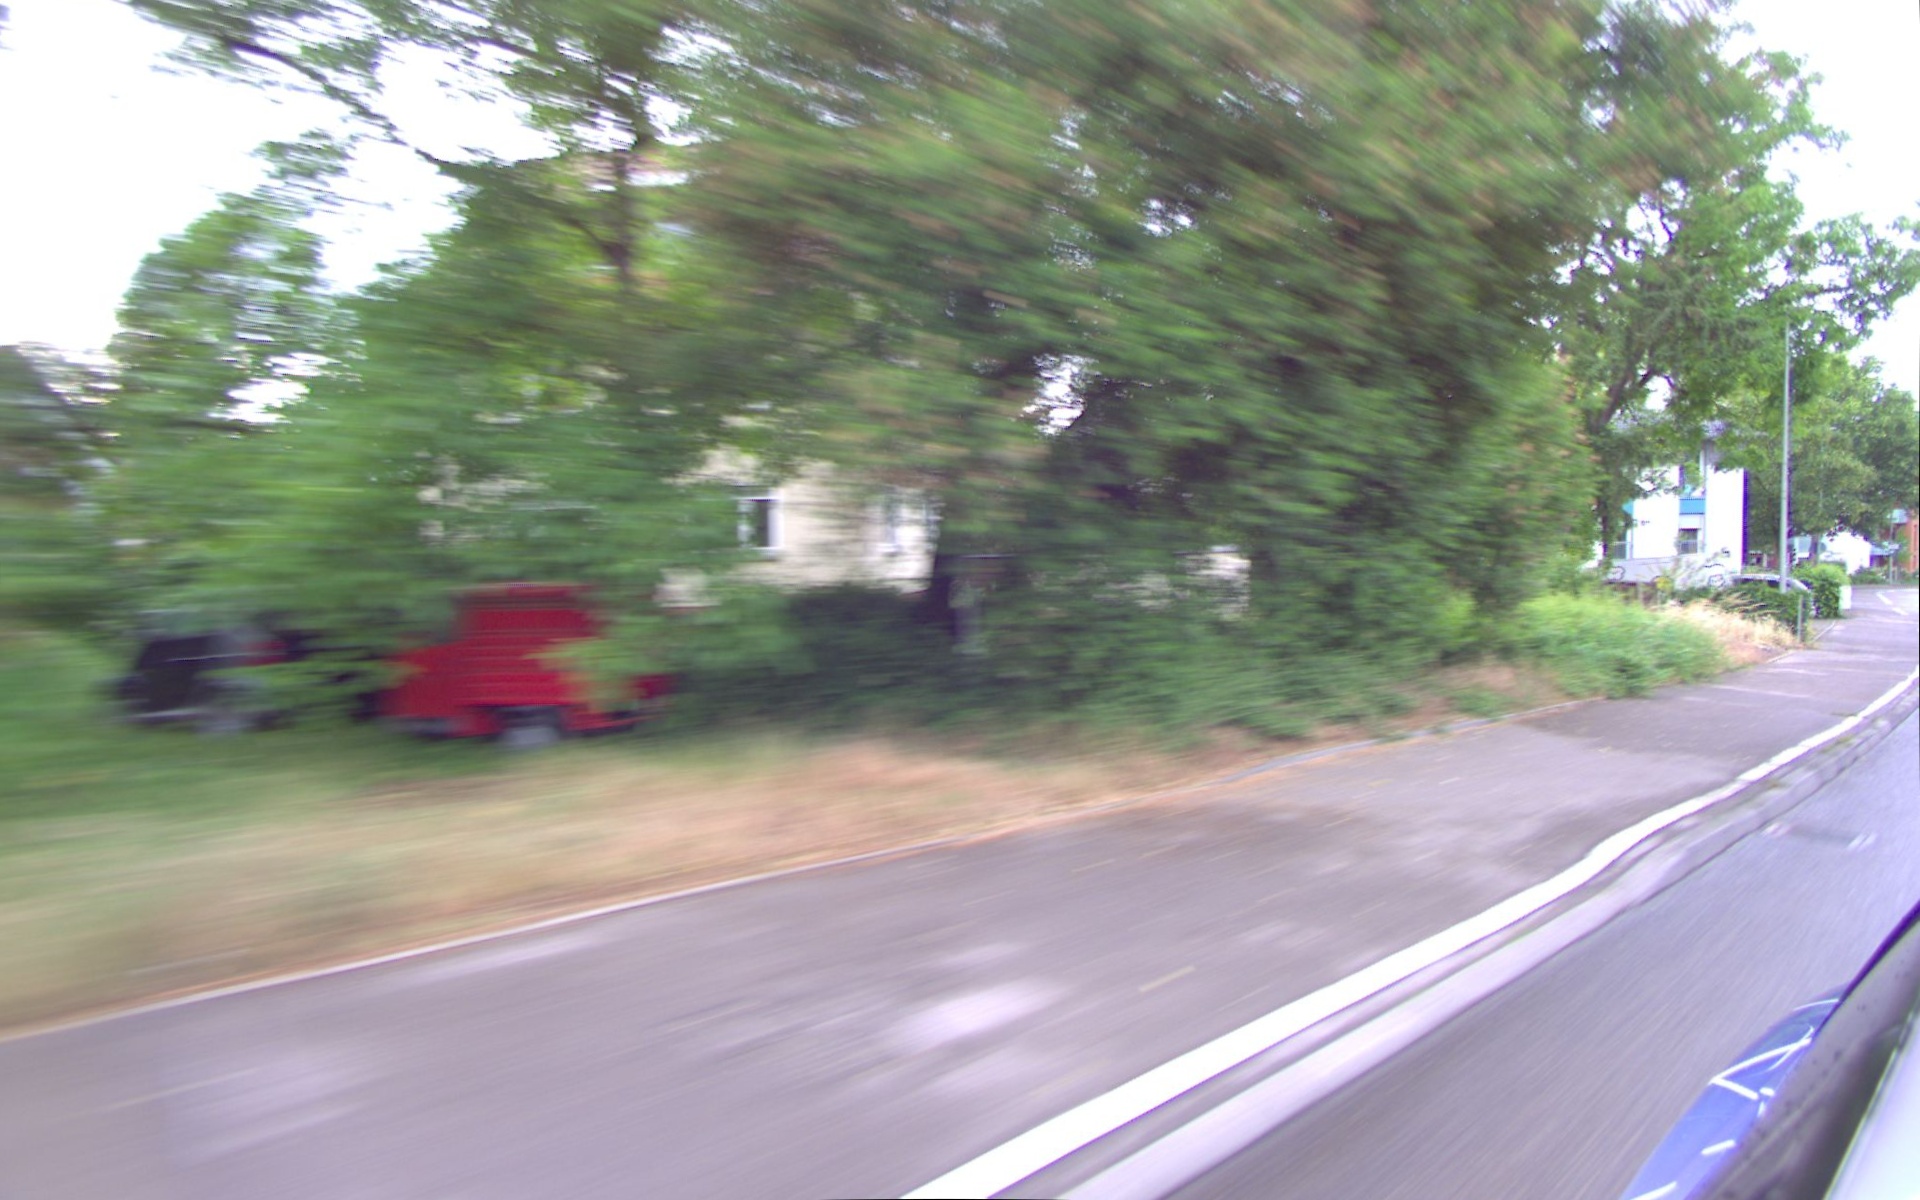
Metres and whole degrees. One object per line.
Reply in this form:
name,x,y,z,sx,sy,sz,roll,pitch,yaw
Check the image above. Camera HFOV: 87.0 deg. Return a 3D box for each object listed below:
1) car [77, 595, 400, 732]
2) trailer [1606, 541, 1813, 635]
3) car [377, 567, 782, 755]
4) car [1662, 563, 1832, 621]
car,-7.186,0.559,10.131,2.537,1.123,1.487,2,2,20
trailer,20.871,-0.369,28.374,4.523,2.430,1.924,1,2,37
car,-3.404,0.434,9.173,3.112,1.401,1.684,2,2,20
car,25.947,-0.313,33.453,1.952,1.771,4.216,0,2,-45
